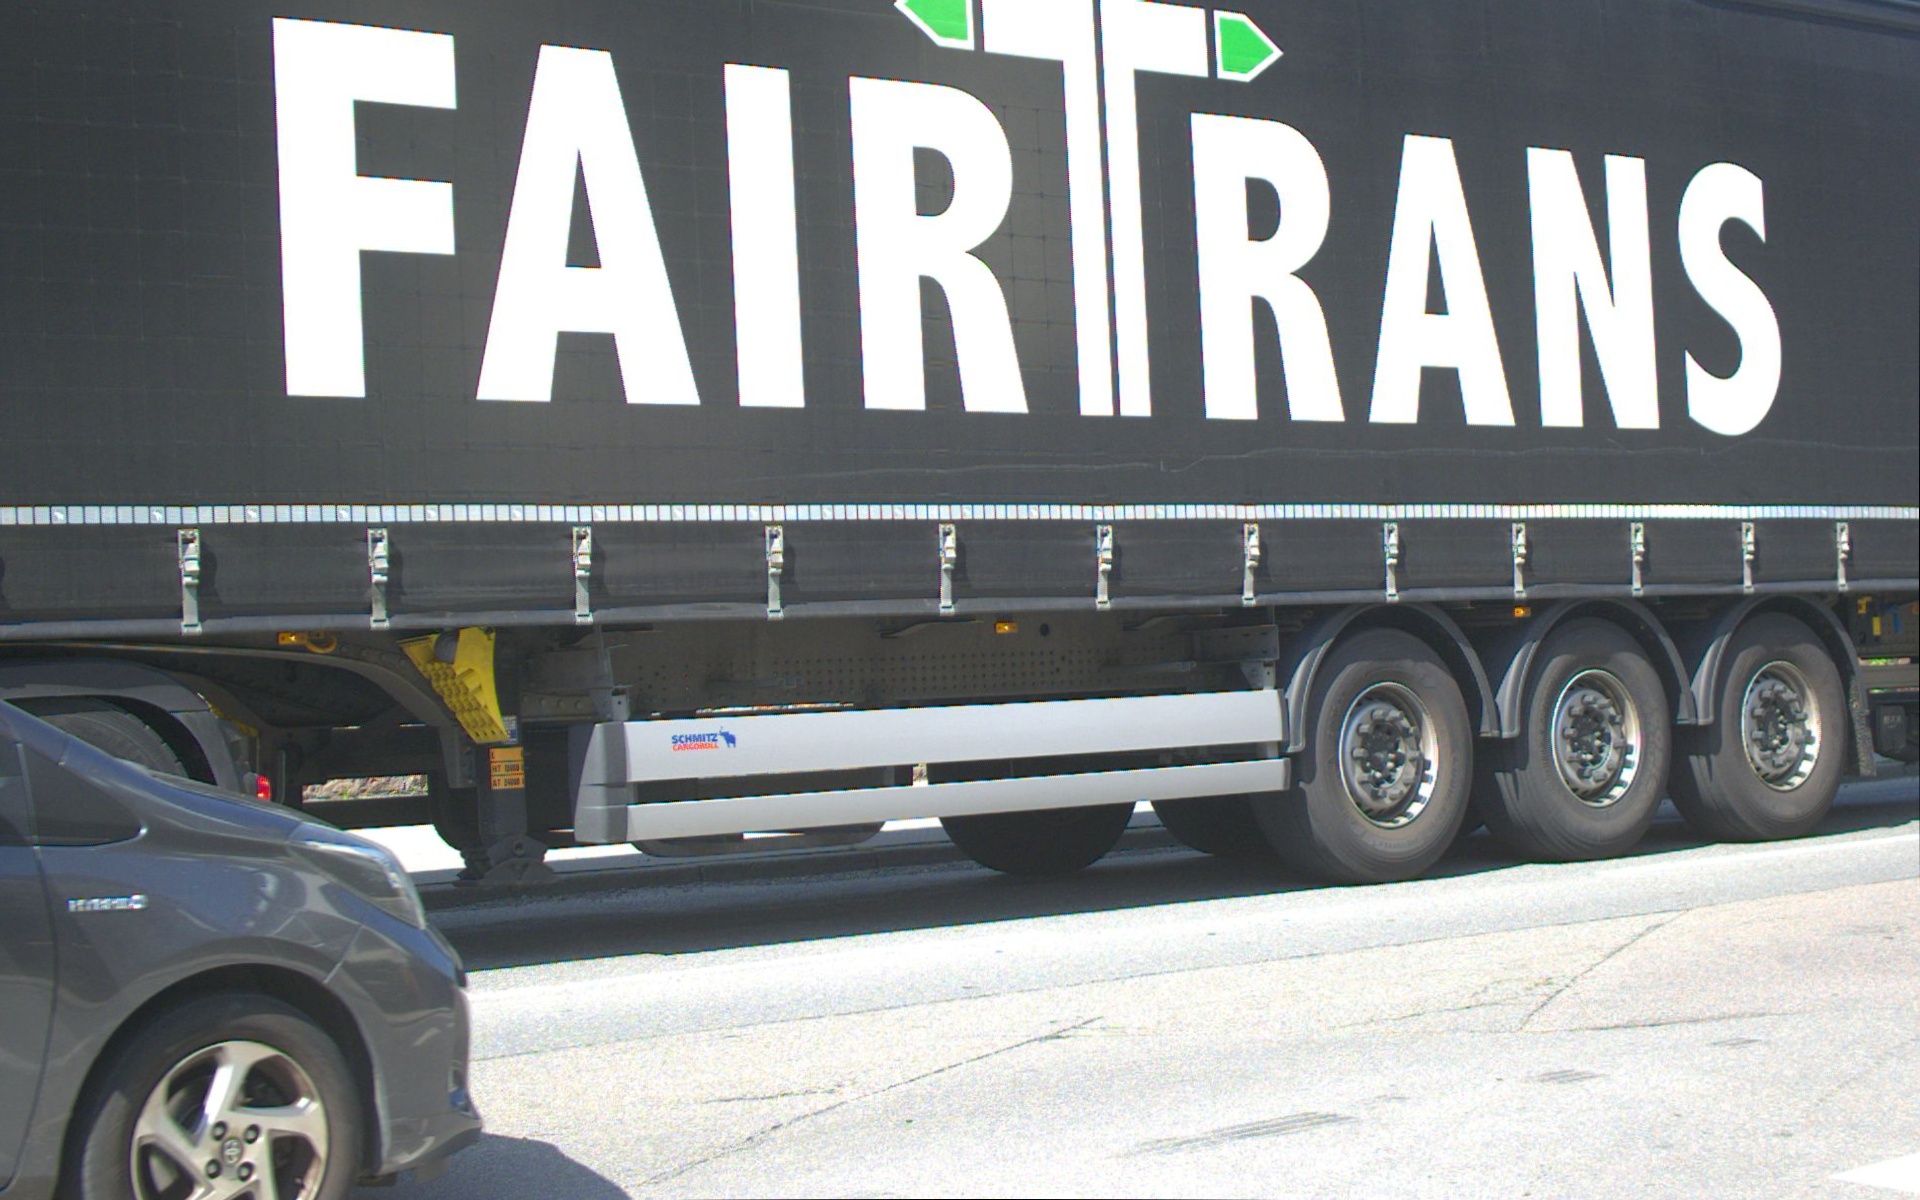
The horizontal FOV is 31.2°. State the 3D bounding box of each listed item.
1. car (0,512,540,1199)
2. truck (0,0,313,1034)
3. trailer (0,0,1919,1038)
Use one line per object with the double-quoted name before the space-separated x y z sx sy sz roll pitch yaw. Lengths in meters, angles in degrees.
"car" -2.864 0.617 6.207 3.870 1.493 1.727 -2 1 -42
"truck" -5.251 -0.674 9.835 5.915 4.057 2.838 -2 -1 -40
"trailer" -0.046 -0.851 14.213 13.732 4.090 2.841 -2 -1 -40
